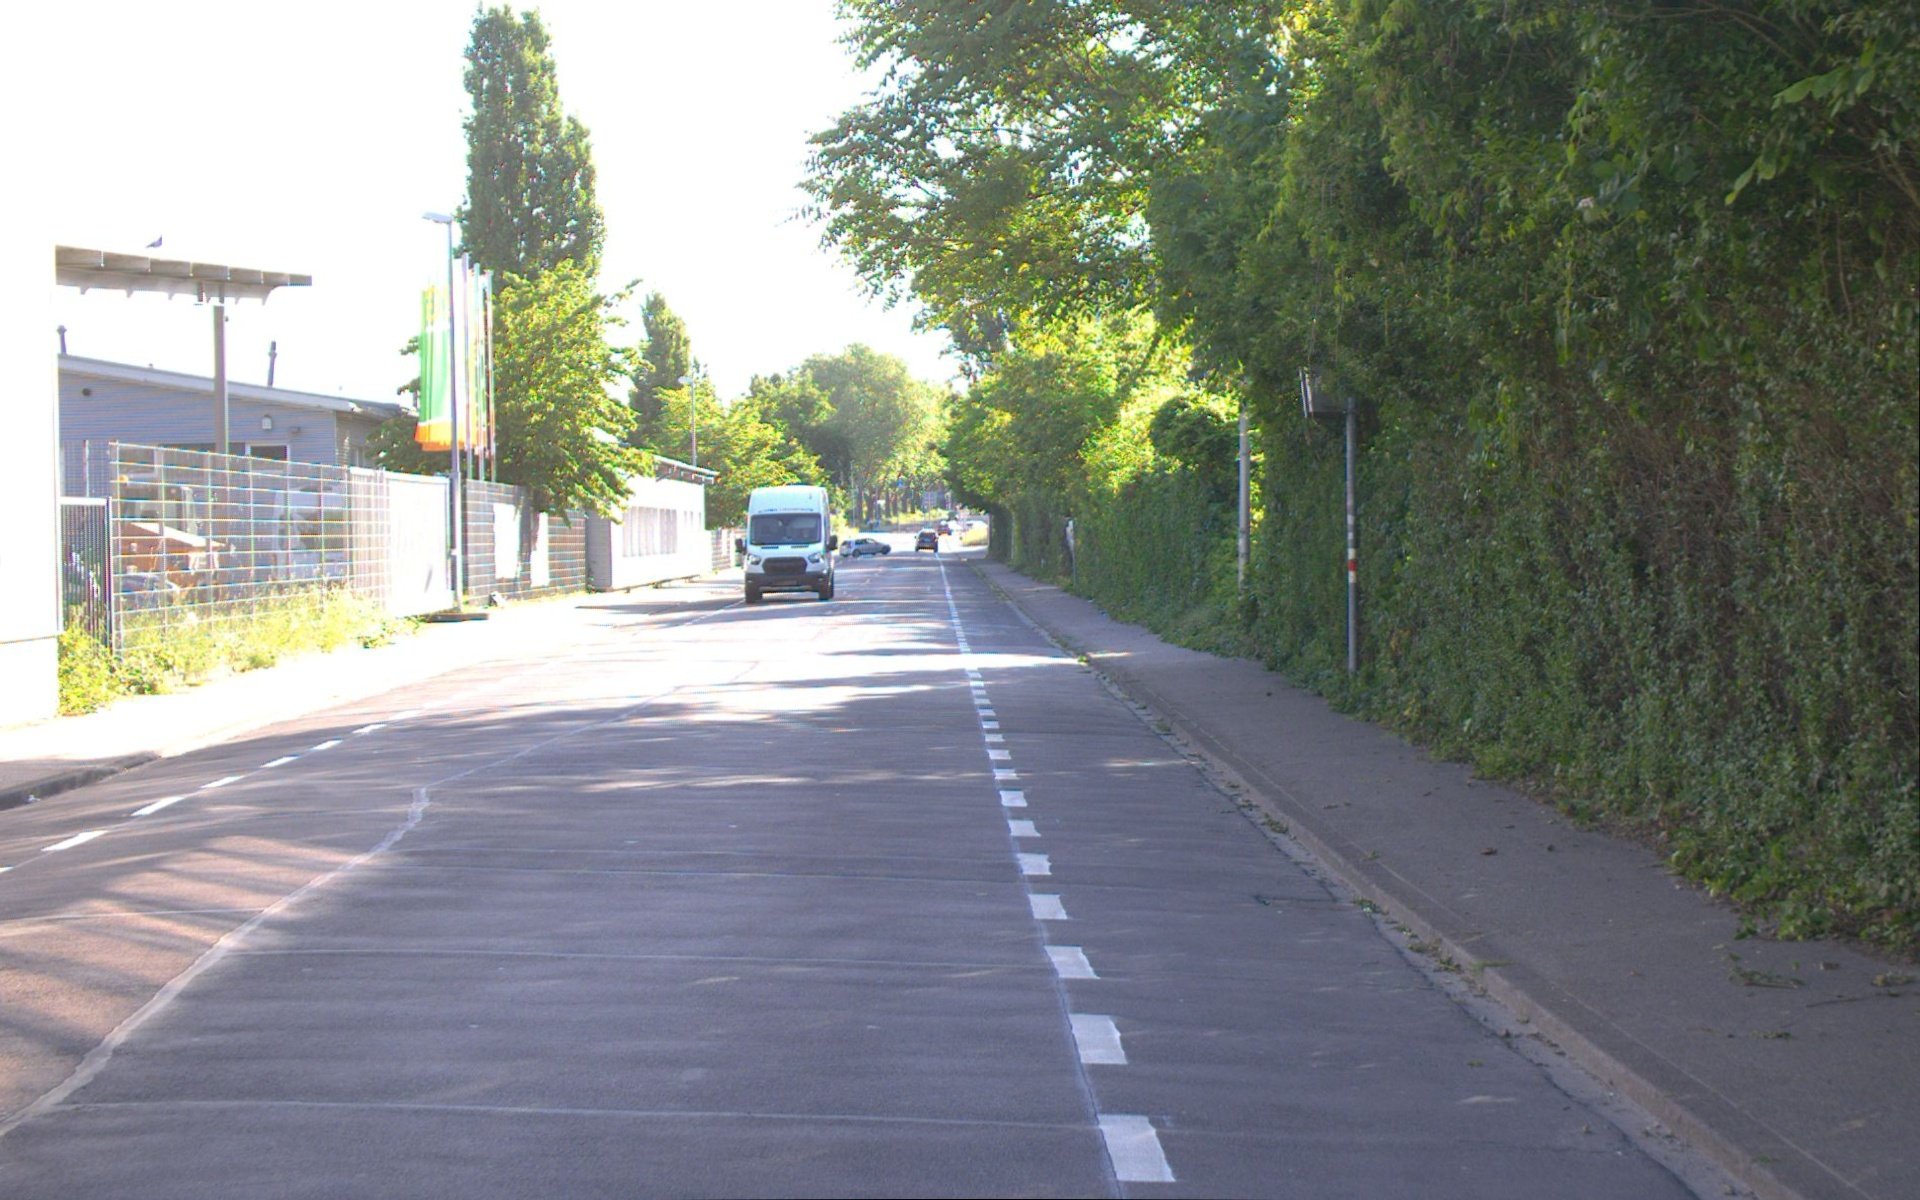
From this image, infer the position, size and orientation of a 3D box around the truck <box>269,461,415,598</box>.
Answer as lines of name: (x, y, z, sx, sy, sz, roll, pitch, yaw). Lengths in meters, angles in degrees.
truck: (-12.983, -1.494, 72.591, 2.078, 2.752, 5.765, -1, 1, -1)

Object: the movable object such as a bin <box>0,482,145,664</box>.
movable object such as a bin: (-11.595, -0.351, 42.207, 2.768, 2.157, 1.521, 0, 2, 29)

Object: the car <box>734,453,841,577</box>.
car: (-4.120, -2.025, 82.988, 2.123, 2.771, 5.927, -3, 1, 0)

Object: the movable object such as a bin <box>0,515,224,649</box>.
movable object such as a bin: (-12.086, -0.267, 48.610, 3.038, 1.829, 1.526, -1, 2, -2)
